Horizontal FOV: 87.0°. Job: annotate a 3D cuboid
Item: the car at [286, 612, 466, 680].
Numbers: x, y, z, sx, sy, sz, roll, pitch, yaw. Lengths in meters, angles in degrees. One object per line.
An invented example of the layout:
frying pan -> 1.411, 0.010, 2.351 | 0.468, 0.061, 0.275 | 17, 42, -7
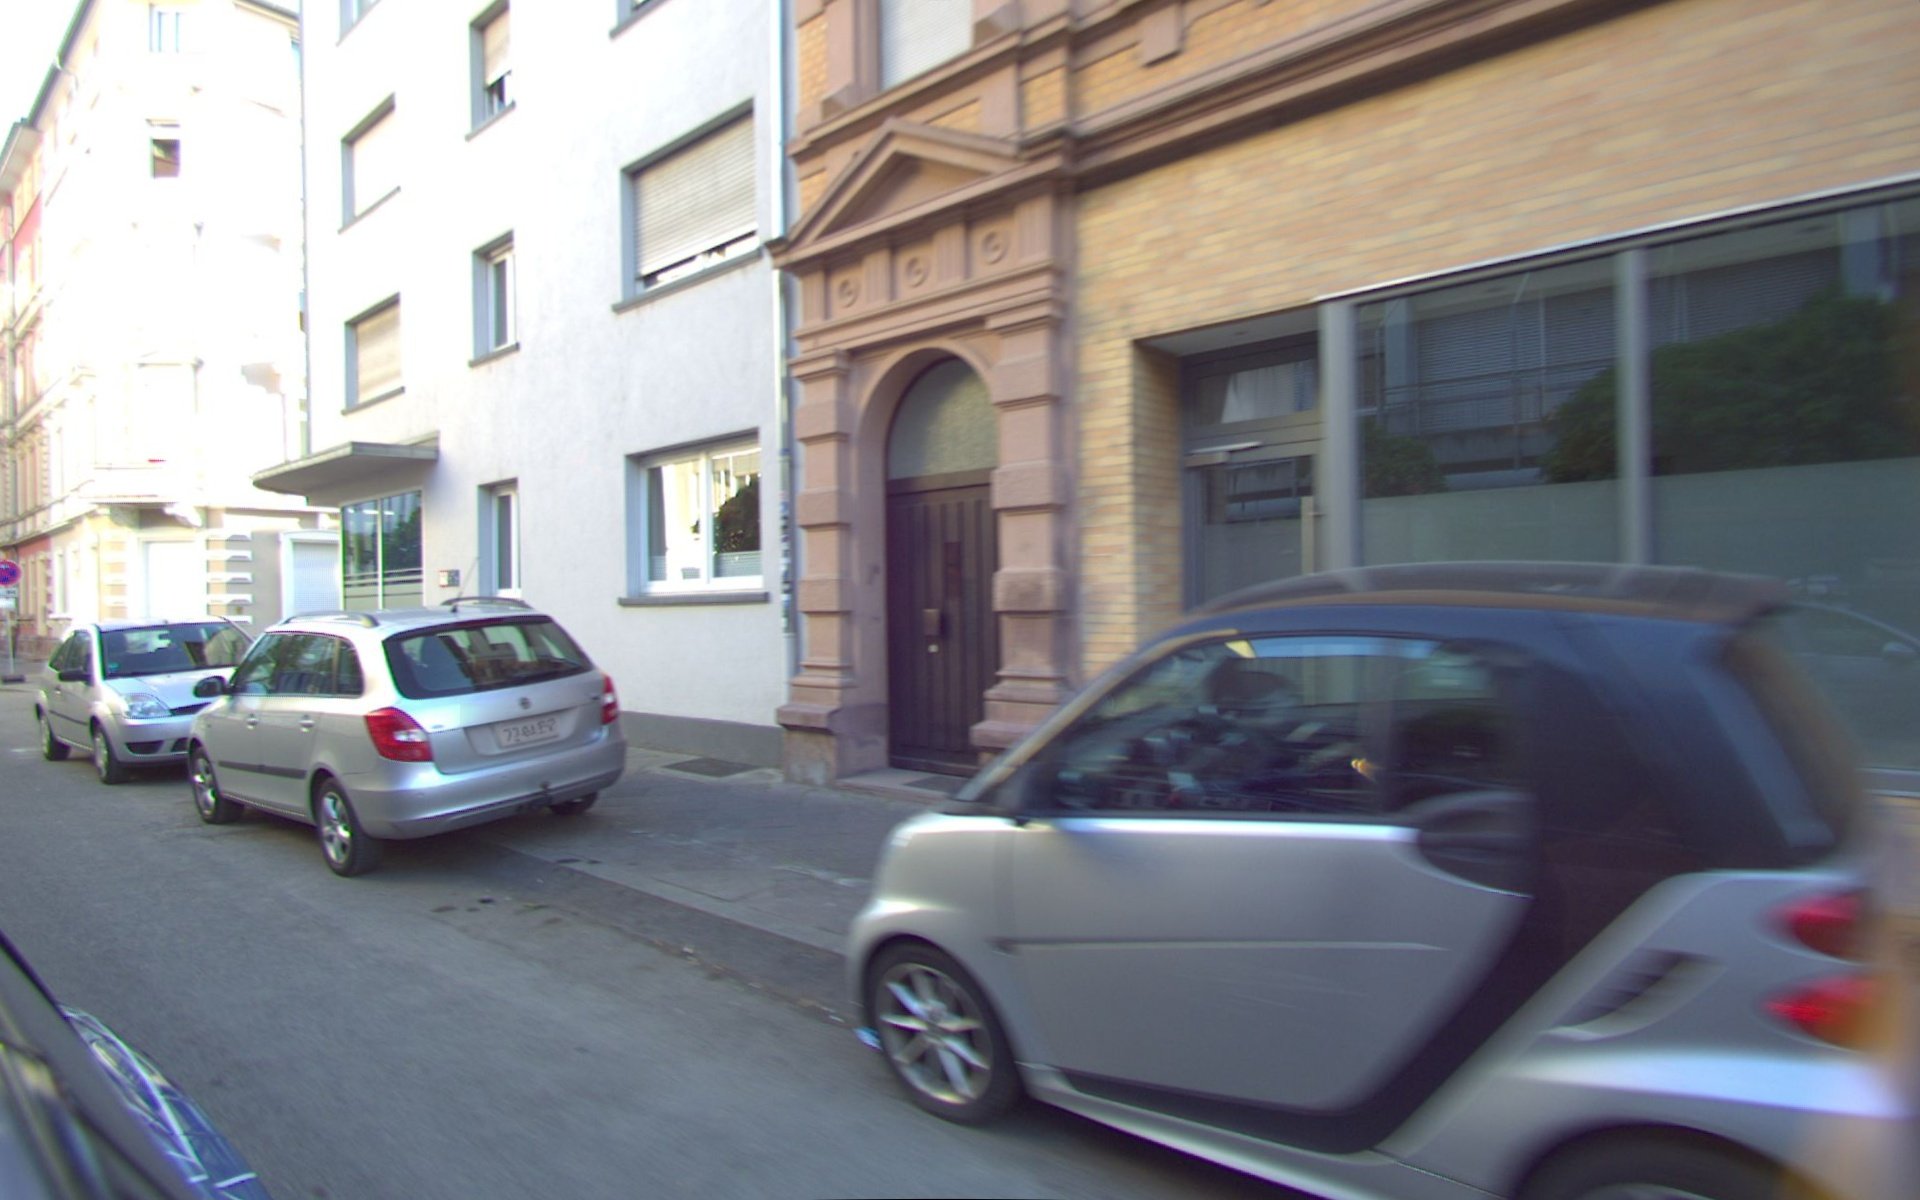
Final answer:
car -> -14.577, 1.099, 25.409 | 1.683, 1.490, 3.547 | -2, 0, 35

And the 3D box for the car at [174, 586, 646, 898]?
car -> -3.852, 0.746, 6.857 | 3.594, 1.520, 1.540 | -2, 2, 40

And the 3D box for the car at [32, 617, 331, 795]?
car -> -7.913, 0.925, 10.187 | 3.551, 1.441, 1.616 | -2, 0, 39

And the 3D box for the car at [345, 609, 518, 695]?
car -> -10.807, 1.014, 20.776 | 1.647, 1.577, 2.726 | -2, 0, 41

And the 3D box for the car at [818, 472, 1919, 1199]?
car -> 1.078, 0.613, 2.776 | 2.792, 1.600, 1.381 | -2, 0, 41
